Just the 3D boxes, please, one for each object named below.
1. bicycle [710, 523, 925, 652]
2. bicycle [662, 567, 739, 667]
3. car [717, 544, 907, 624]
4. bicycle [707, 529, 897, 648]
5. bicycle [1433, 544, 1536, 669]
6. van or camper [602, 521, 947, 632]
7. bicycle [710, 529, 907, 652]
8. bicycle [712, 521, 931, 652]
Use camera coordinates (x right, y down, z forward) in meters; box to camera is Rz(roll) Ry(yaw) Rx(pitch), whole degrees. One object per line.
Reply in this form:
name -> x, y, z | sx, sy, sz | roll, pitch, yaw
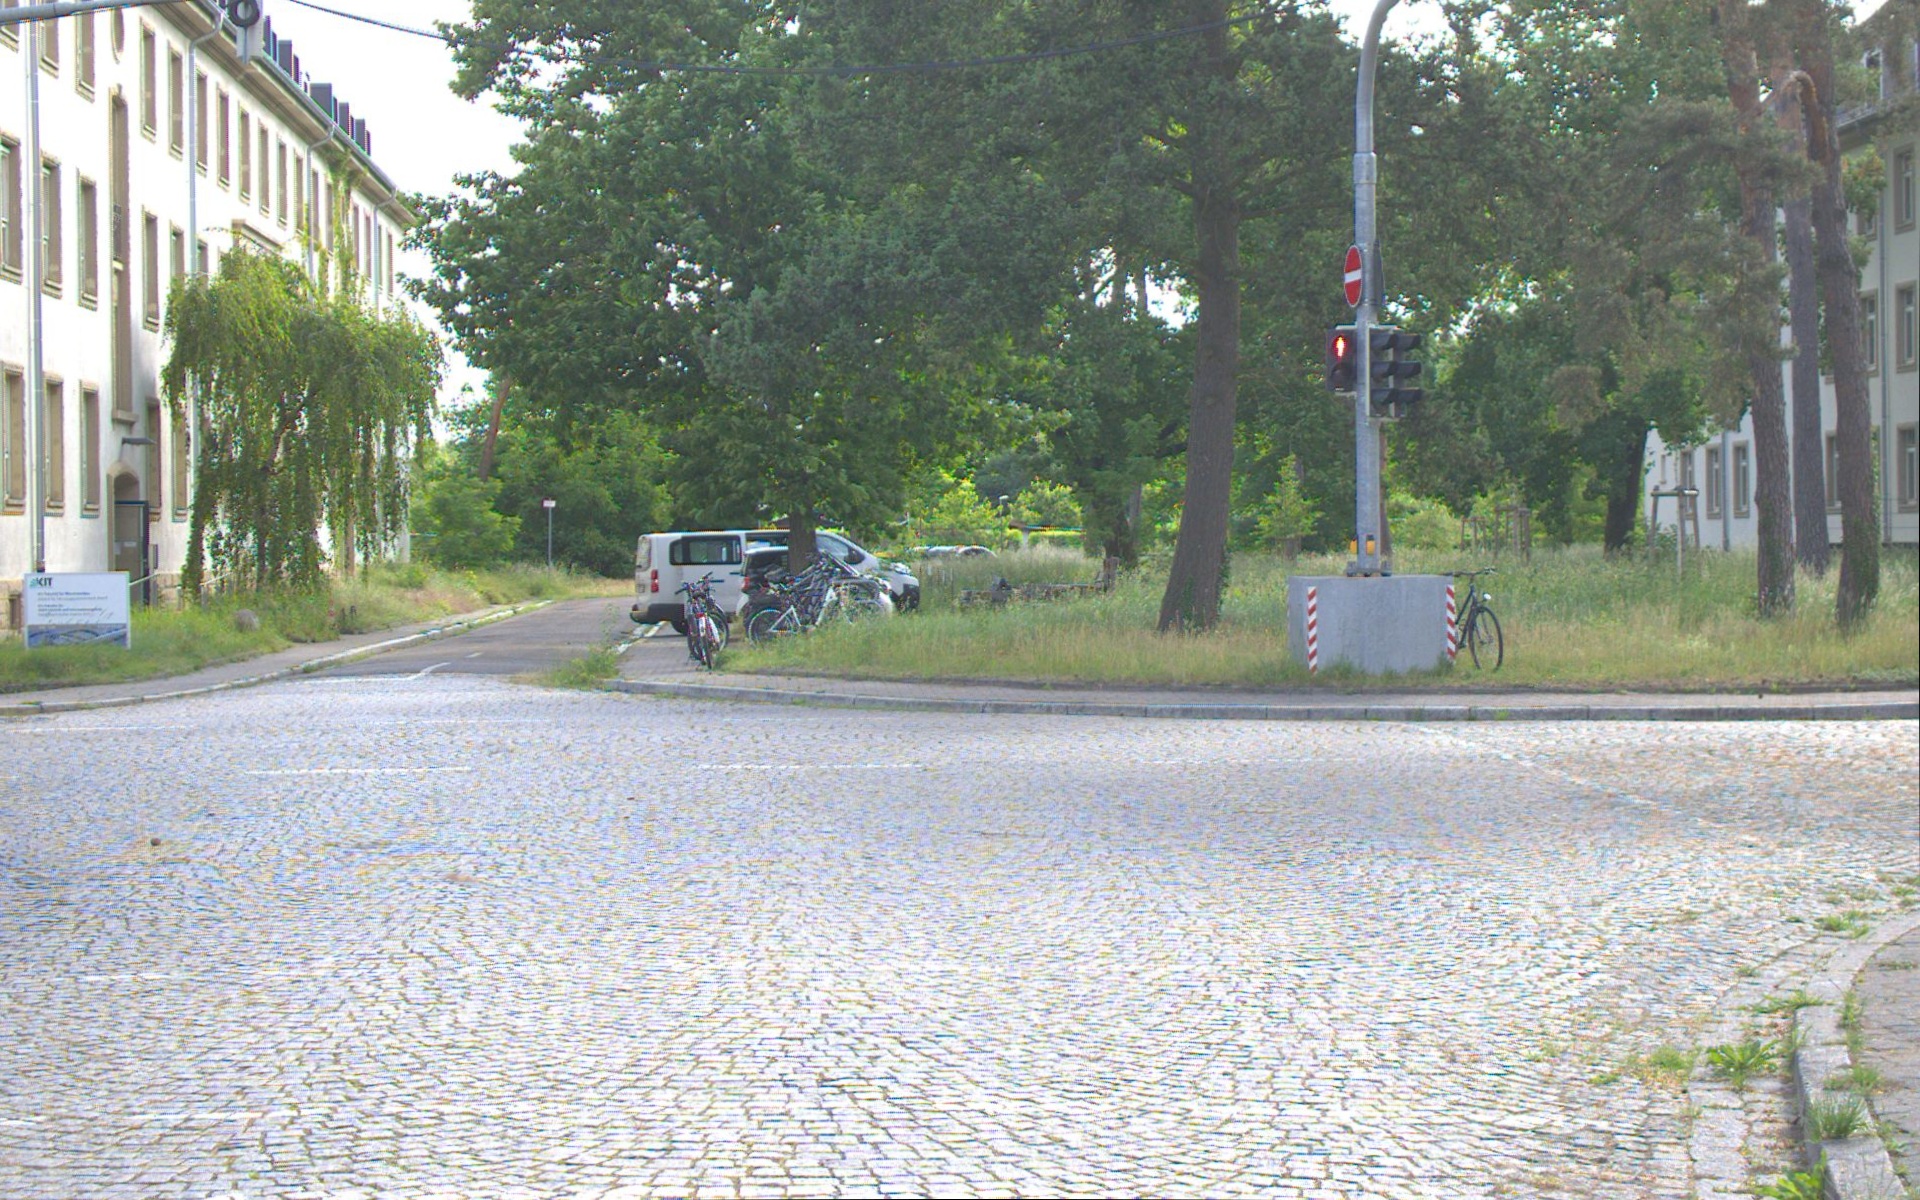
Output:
bicycle -> -1.944, -0.182, 46.705 | 2.775, 1.688, 1.120 | -1, 1, -10
bicycle -> -3.094, 0.185, 41.171 | 0.725, 1.104, 2.462 | -5, 1, -2
car -> -2.587, -0.290, 59.891 | 3.137, 1.349, 1.620 | -1, 1, -9
bicycle -> -2.365, -0.179, 51.595 | 2.775, 1.688, 1.120 | 2, 1, -2
bicycle -> 5.173, 0.046, 34.046 | 0.724, 1.165, 2.737 | 1, 1, 3
van or camper -> -3.422, -0.460, 63.430 | 6.030, 1.942, 2.001 | -1, 1, -16
bicycle -> -2.203, -0.143, 50.264 | 2.775, 1.688, 1.120 | 2, 1, 1
bicycle -> -1.850, -0.190, 45.514 | 2.775, 1.688, 1.120 | -1, 1, -8
